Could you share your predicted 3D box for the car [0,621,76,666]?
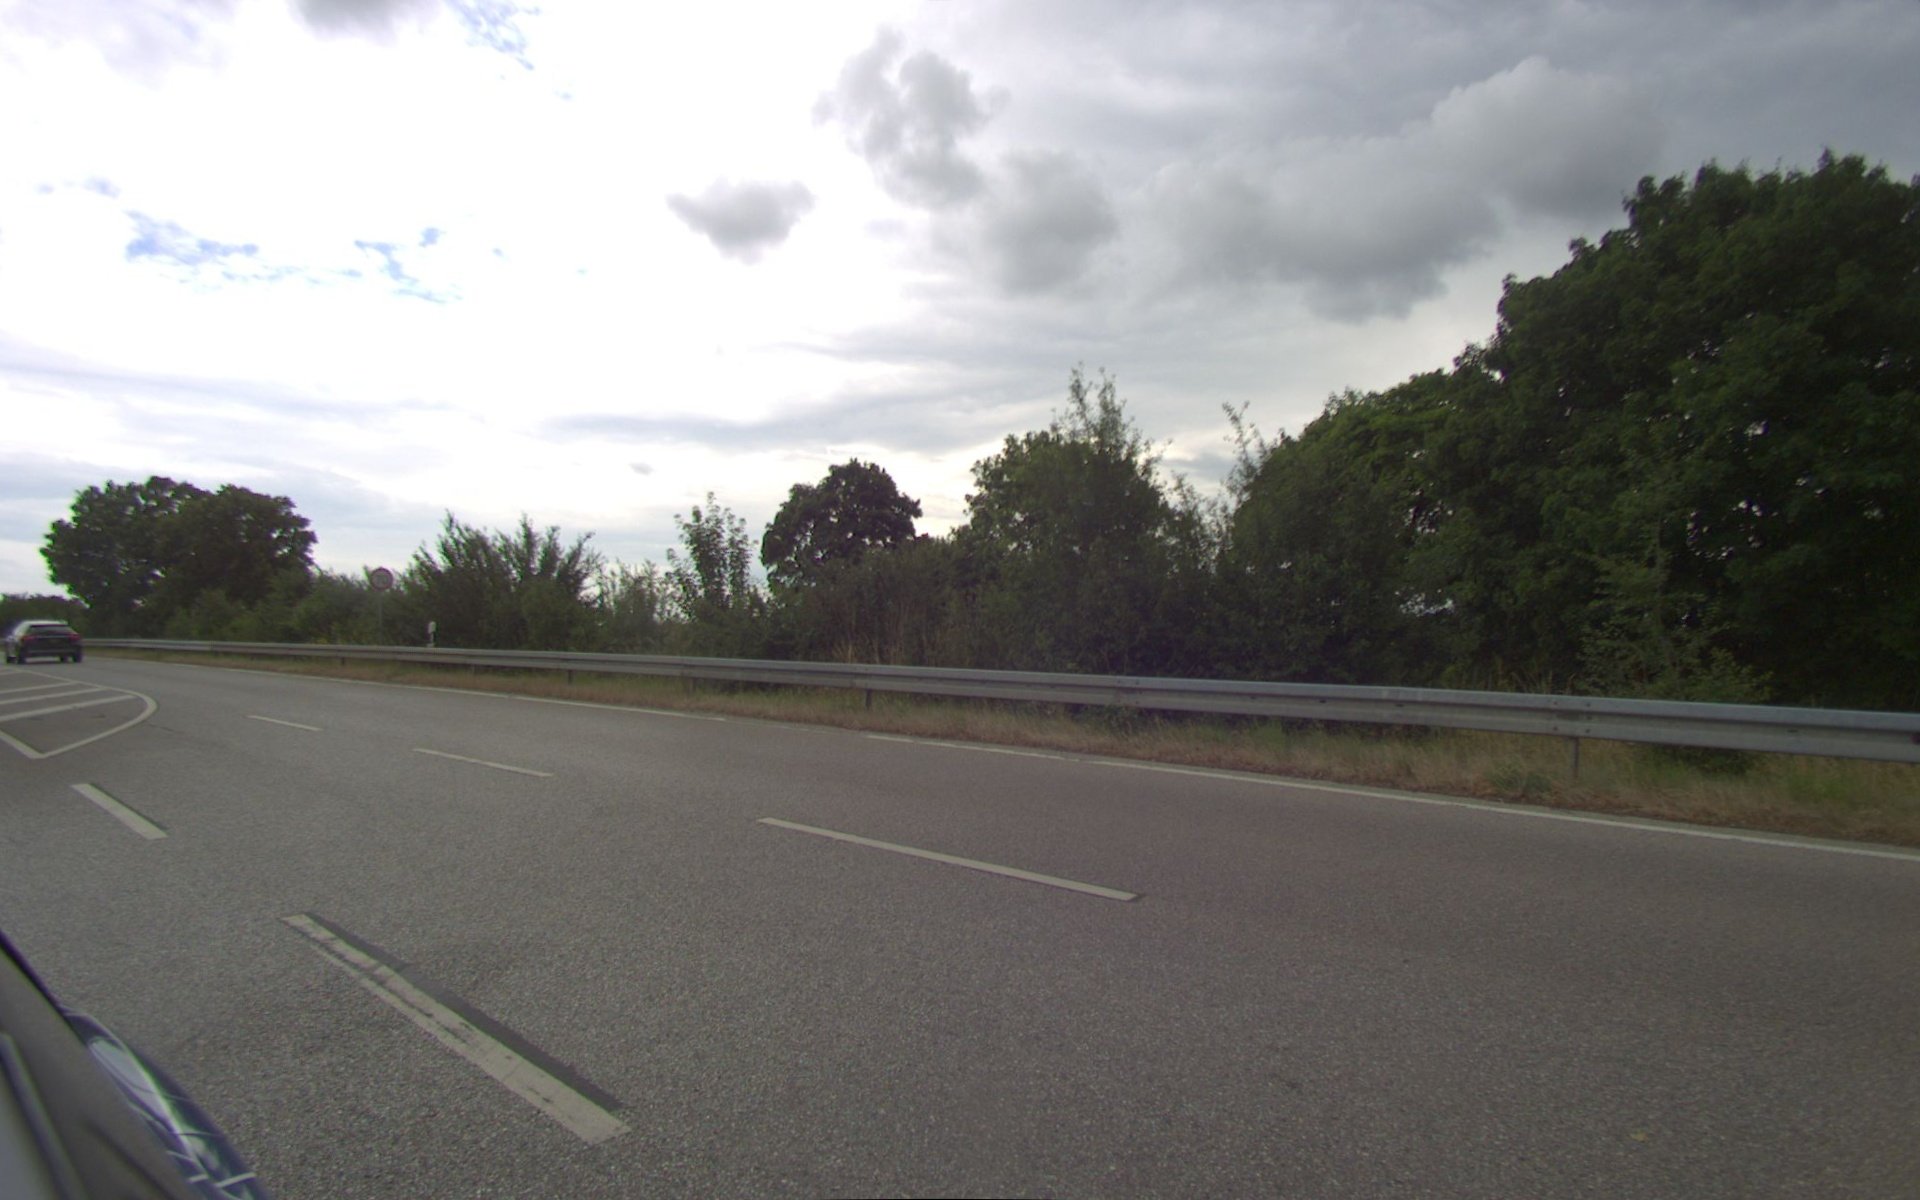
[{"bbox_3d":[-33.472,1.540,36.658,3.998,1.534,1.693,-1,-1,41],"label":"car"}]
